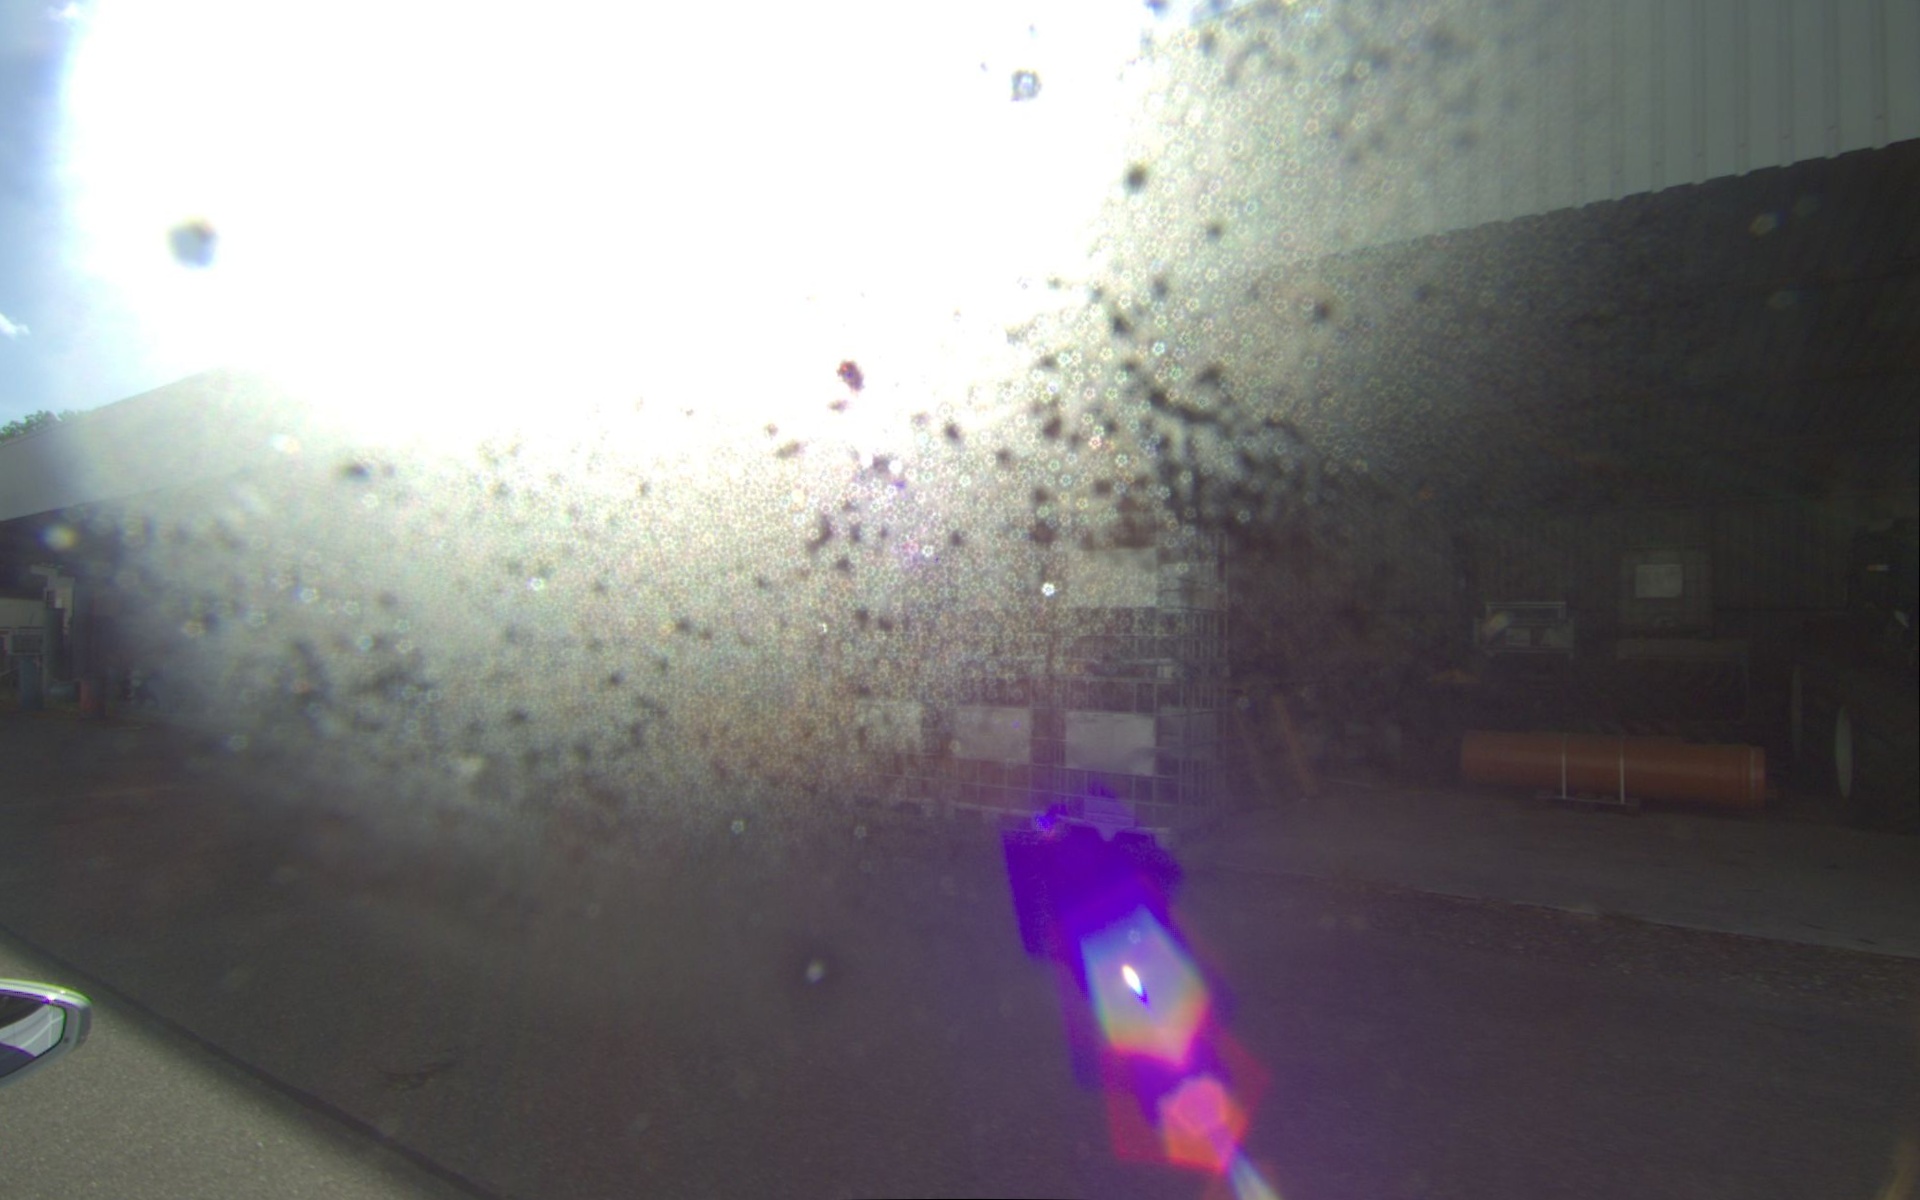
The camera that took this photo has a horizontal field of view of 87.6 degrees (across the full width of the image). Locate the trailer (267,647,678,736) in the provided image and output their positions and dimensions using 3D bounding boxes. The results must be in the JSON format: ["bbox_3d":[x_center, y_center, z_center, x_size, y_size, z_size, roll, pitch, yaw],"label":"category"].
[{"bbox_3d":[-7.611,1.406,16.446,2.110,1.147,5.841,0,-3,32],"label":"trailer"}]

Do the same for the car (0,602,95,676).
[{"bbox_3d":[-32.116,1.289,33.474,1.890,2.336,4.427,-3,-6,34],"label":"car"}]

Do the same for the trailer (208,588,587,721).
[{"bbox_3d":[-10.049,1.009,18.495,2.049,2.057,5.754,0,-3,35],"label":"trailer"}]

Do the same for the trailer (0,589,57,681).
[{"bbox_3d":[-26.146,0.943,26.799,1.704,2.428,2.519,-1,-4,35],"label":"trailer"}]

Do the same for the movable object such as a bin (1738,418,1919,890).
[{"bbox_3d":[8.556,0.510,8.236,2.975,2.945,6.175,0,-4,34],"label":"movable object such as a bin"}]
